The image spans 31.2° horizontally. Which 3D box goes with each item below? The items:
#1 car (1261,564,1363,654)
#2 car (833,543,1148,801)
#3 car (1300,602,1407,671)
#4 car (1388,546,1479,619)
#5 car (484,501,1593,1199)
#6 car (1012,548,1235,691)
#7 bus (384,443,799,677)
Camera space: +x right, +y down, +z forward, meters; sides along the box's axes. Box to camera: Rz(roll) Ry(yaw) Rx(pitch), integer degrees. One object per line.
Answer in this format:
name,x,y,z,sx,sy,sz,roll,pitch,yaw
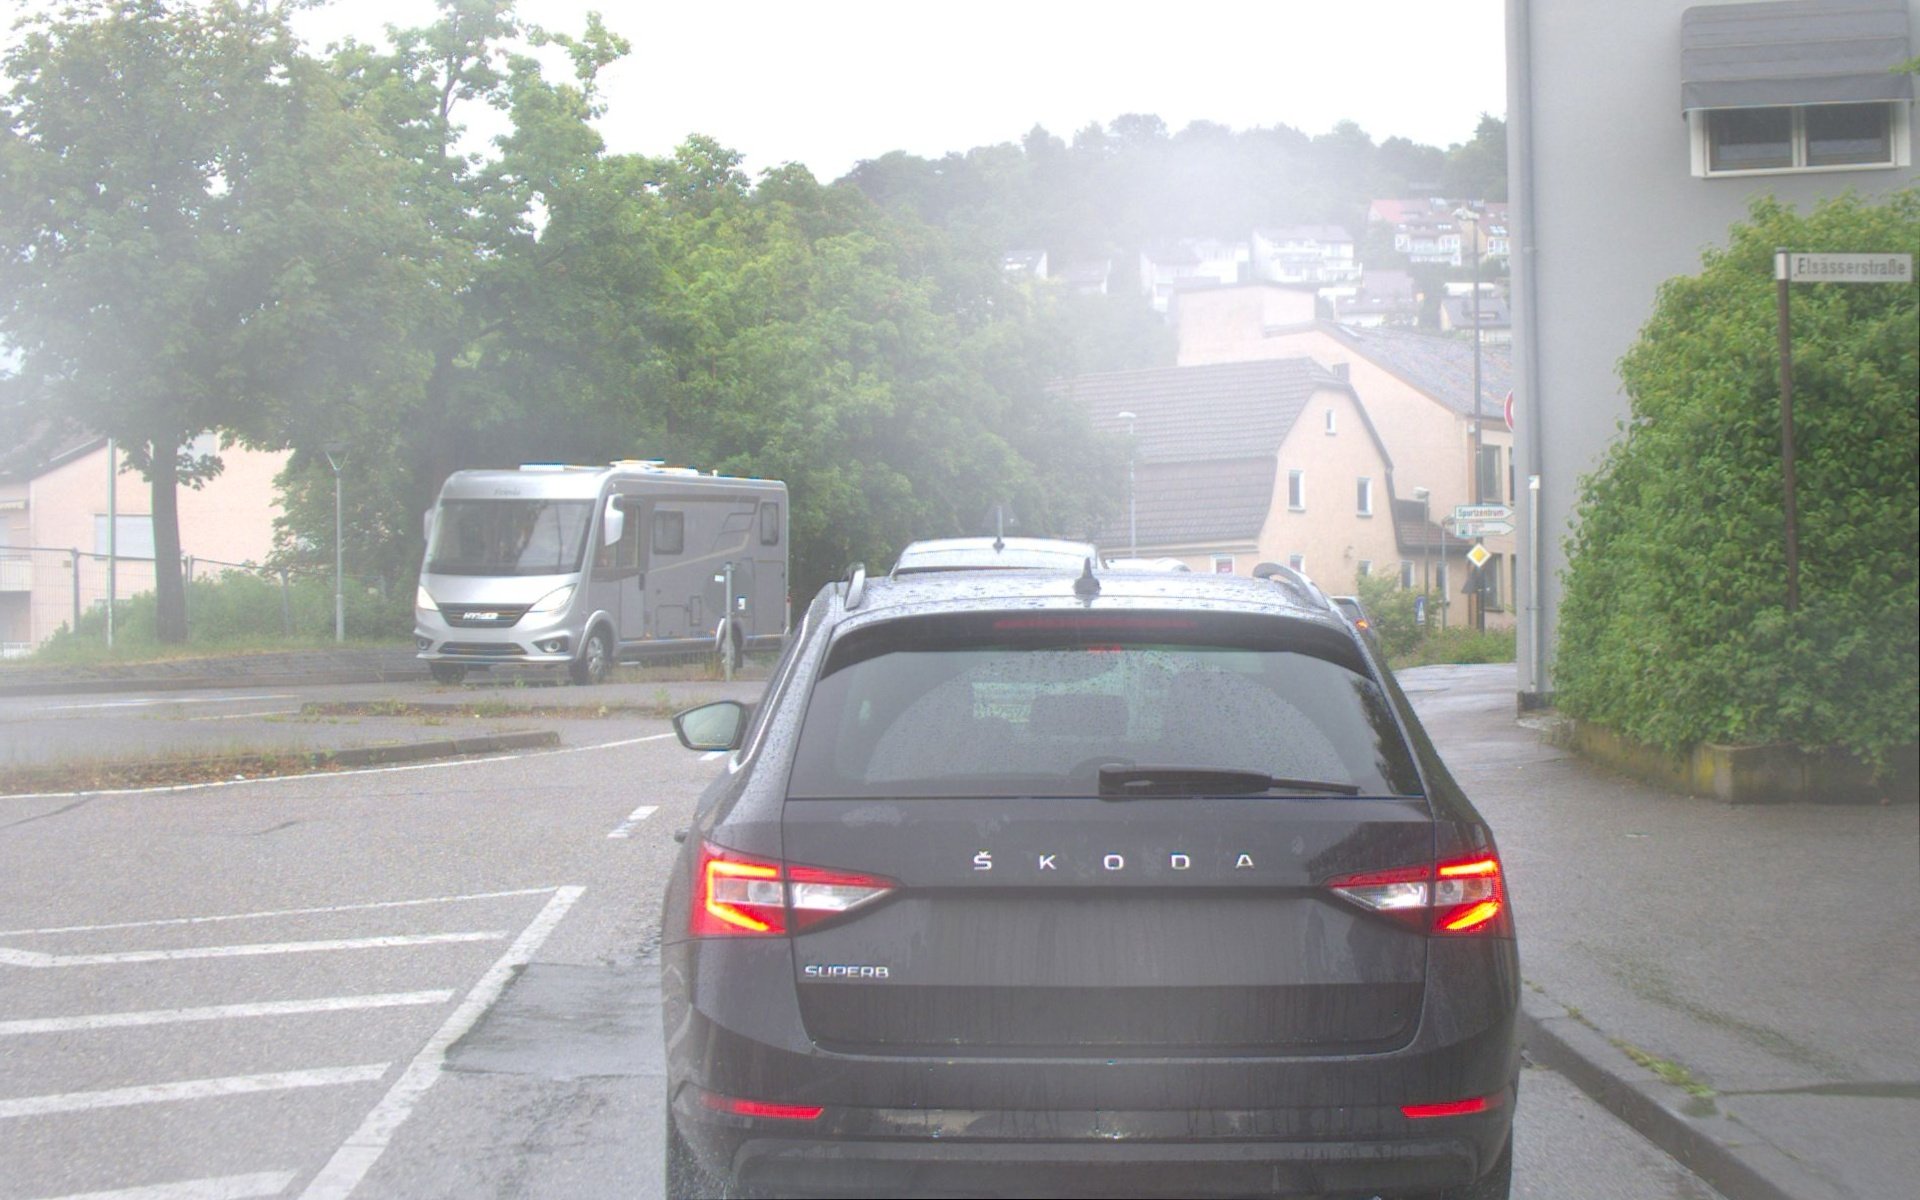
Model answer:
car,6.299,0.137,61.239,1.568,1.525,3.999,0,1,9
car,0.265,0.419,22.025,1.829,1.495,4.168,0,0,3
car,9.028,0.820,78.650,1.994,1.448,3.769,-3,0,12
car,13.428,-0.464,97.655,1.993,2.007,4.000,1,0,0
car,0.098,0.606,8.488,1.954,1.502,4.609,2,0,-1
car,1.787,0.196,36.207,1.849,1.405,4.300,0,0,10
bus,-4.412,-0.521,42.857,2.399,2.667,7.041,0,1,19
